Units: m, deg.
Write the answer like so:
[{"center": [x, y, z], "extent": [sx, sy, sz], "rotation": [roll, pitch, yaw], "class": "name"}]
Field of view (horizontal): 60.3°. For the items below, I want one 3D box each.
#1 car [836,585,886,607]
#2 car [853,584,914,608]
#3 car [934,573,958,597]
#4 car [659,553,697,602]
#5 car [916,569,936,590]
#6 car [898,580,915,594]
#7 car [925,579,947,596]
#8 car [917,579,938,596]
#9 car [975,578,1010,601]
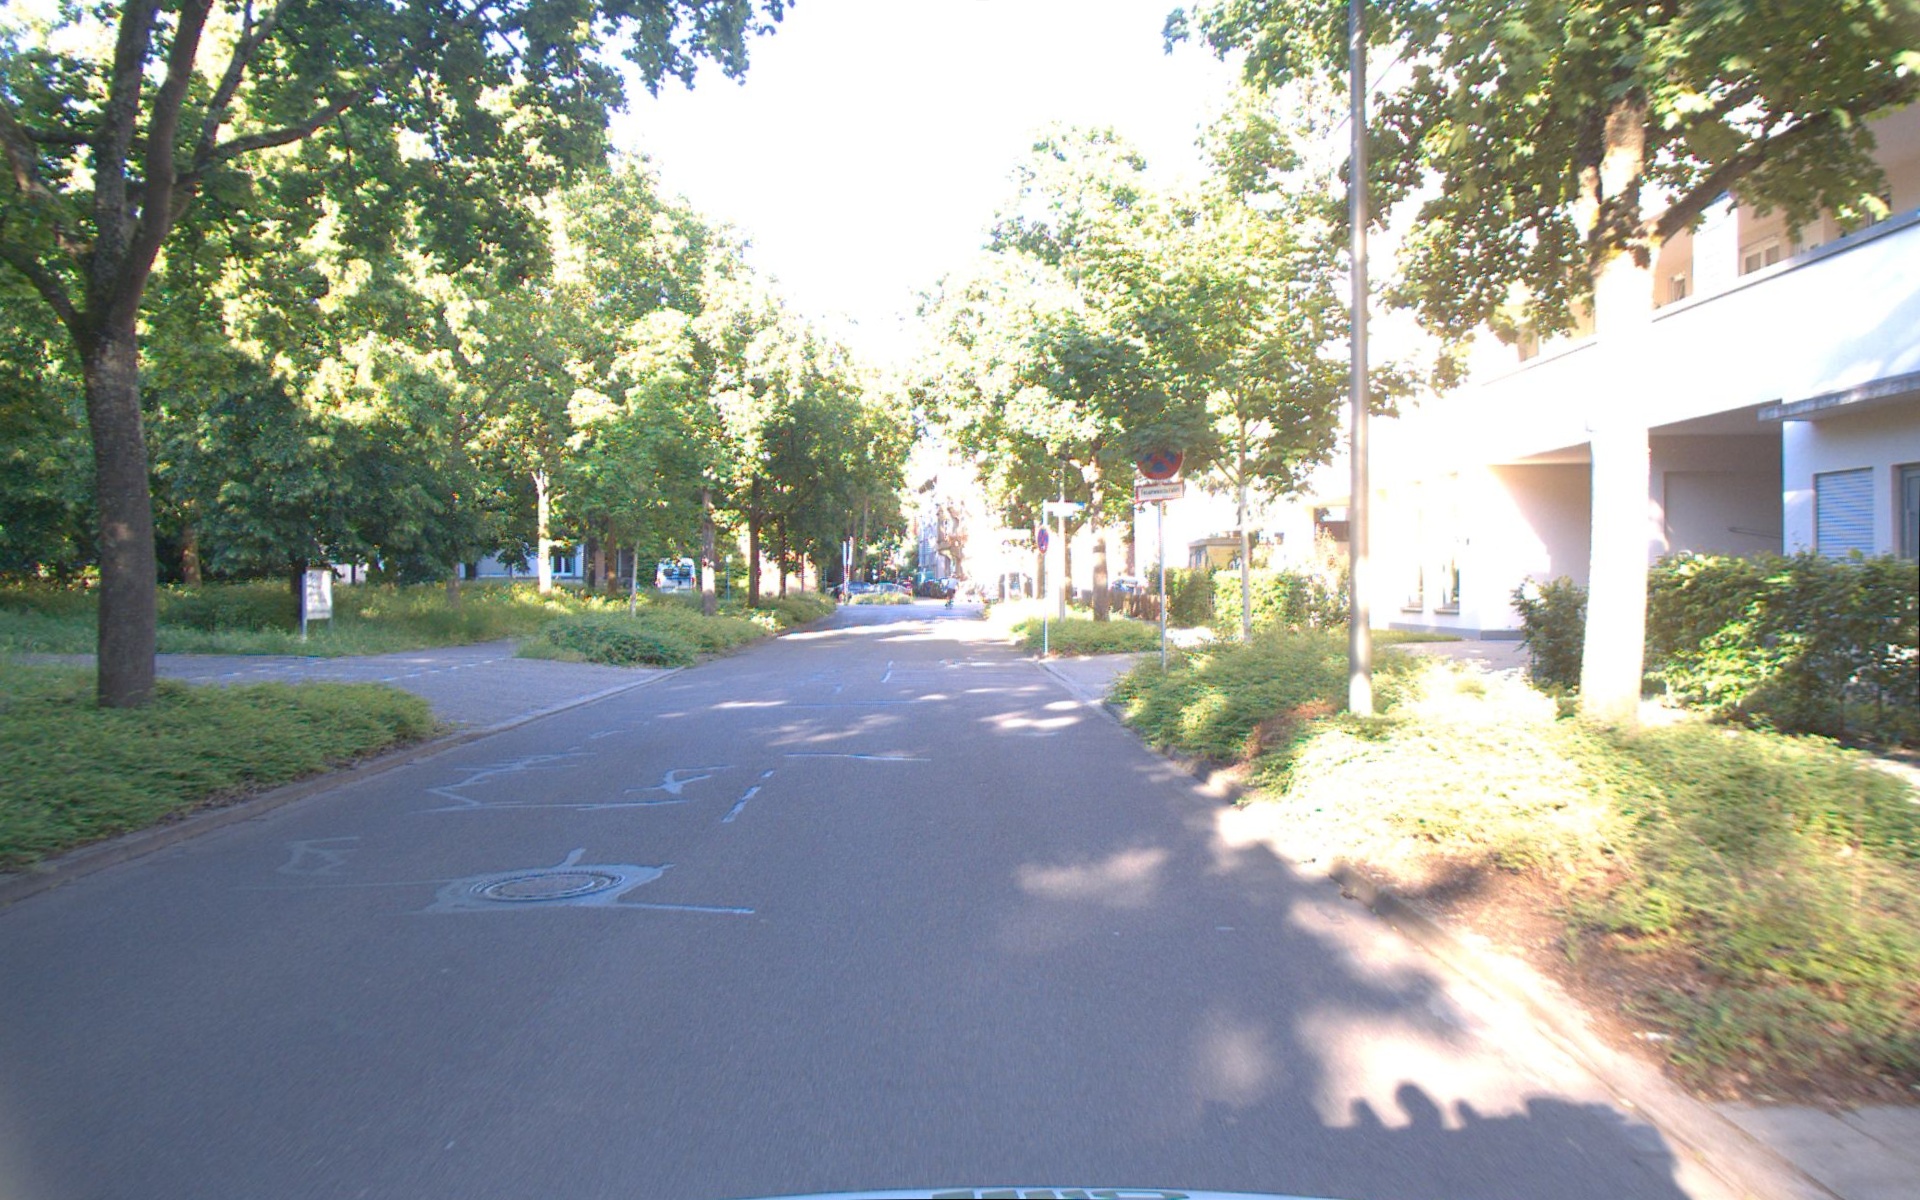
[{"center": [-7.331, -0.315, 122.346], "extent": [3.521, 1.536, 1.497], "rotation": [1, 1, -9], "class": "car"}, {"center": [-5.087, -0.257, 109.950], "extent": [3.913, 1.527, 1.814], "rotation": [1, 1, -9], "class": "car"}, {"center": [-1.233, -1.276, 140.802], "extent": [1.776, 1.959, 3.997], "rotation": [1, 1, -4], "class": "car"}, {"center": [-15.069, -1.189, 88.527], "extent": [1.957, 2.552, 3.991], "rotation": [0, 0, -9], "class": "car"}, {"center": [-3.443, -2.067, 165.747], "extent": [1.776, 2.086, 3.997], "rotation": [1, 1, -4], "class": "car"}, {"center": [-5.927, -1.481, 182.680], "extent": [1.776, 1.527, 3.997], "rotation": [1, 1, -4], "class": "car"}, {"center": [-2.167, -1.152, 149.035], "extent": [1.776, 1.527, 3.997], "rotation": [1, 1, -4], "class": "car"}, {"center": [-3.090, -1.213, 155.555], "extent": [1.776, 1.527, 3.997], "rotation": [1, 1, -4], "class": "car"}, {"center": [2.198, -0.715, 112.315], "extent": [1.777, 1.527, 3.993], "rotation": [-1, 1, -8], "class": "car"}]
